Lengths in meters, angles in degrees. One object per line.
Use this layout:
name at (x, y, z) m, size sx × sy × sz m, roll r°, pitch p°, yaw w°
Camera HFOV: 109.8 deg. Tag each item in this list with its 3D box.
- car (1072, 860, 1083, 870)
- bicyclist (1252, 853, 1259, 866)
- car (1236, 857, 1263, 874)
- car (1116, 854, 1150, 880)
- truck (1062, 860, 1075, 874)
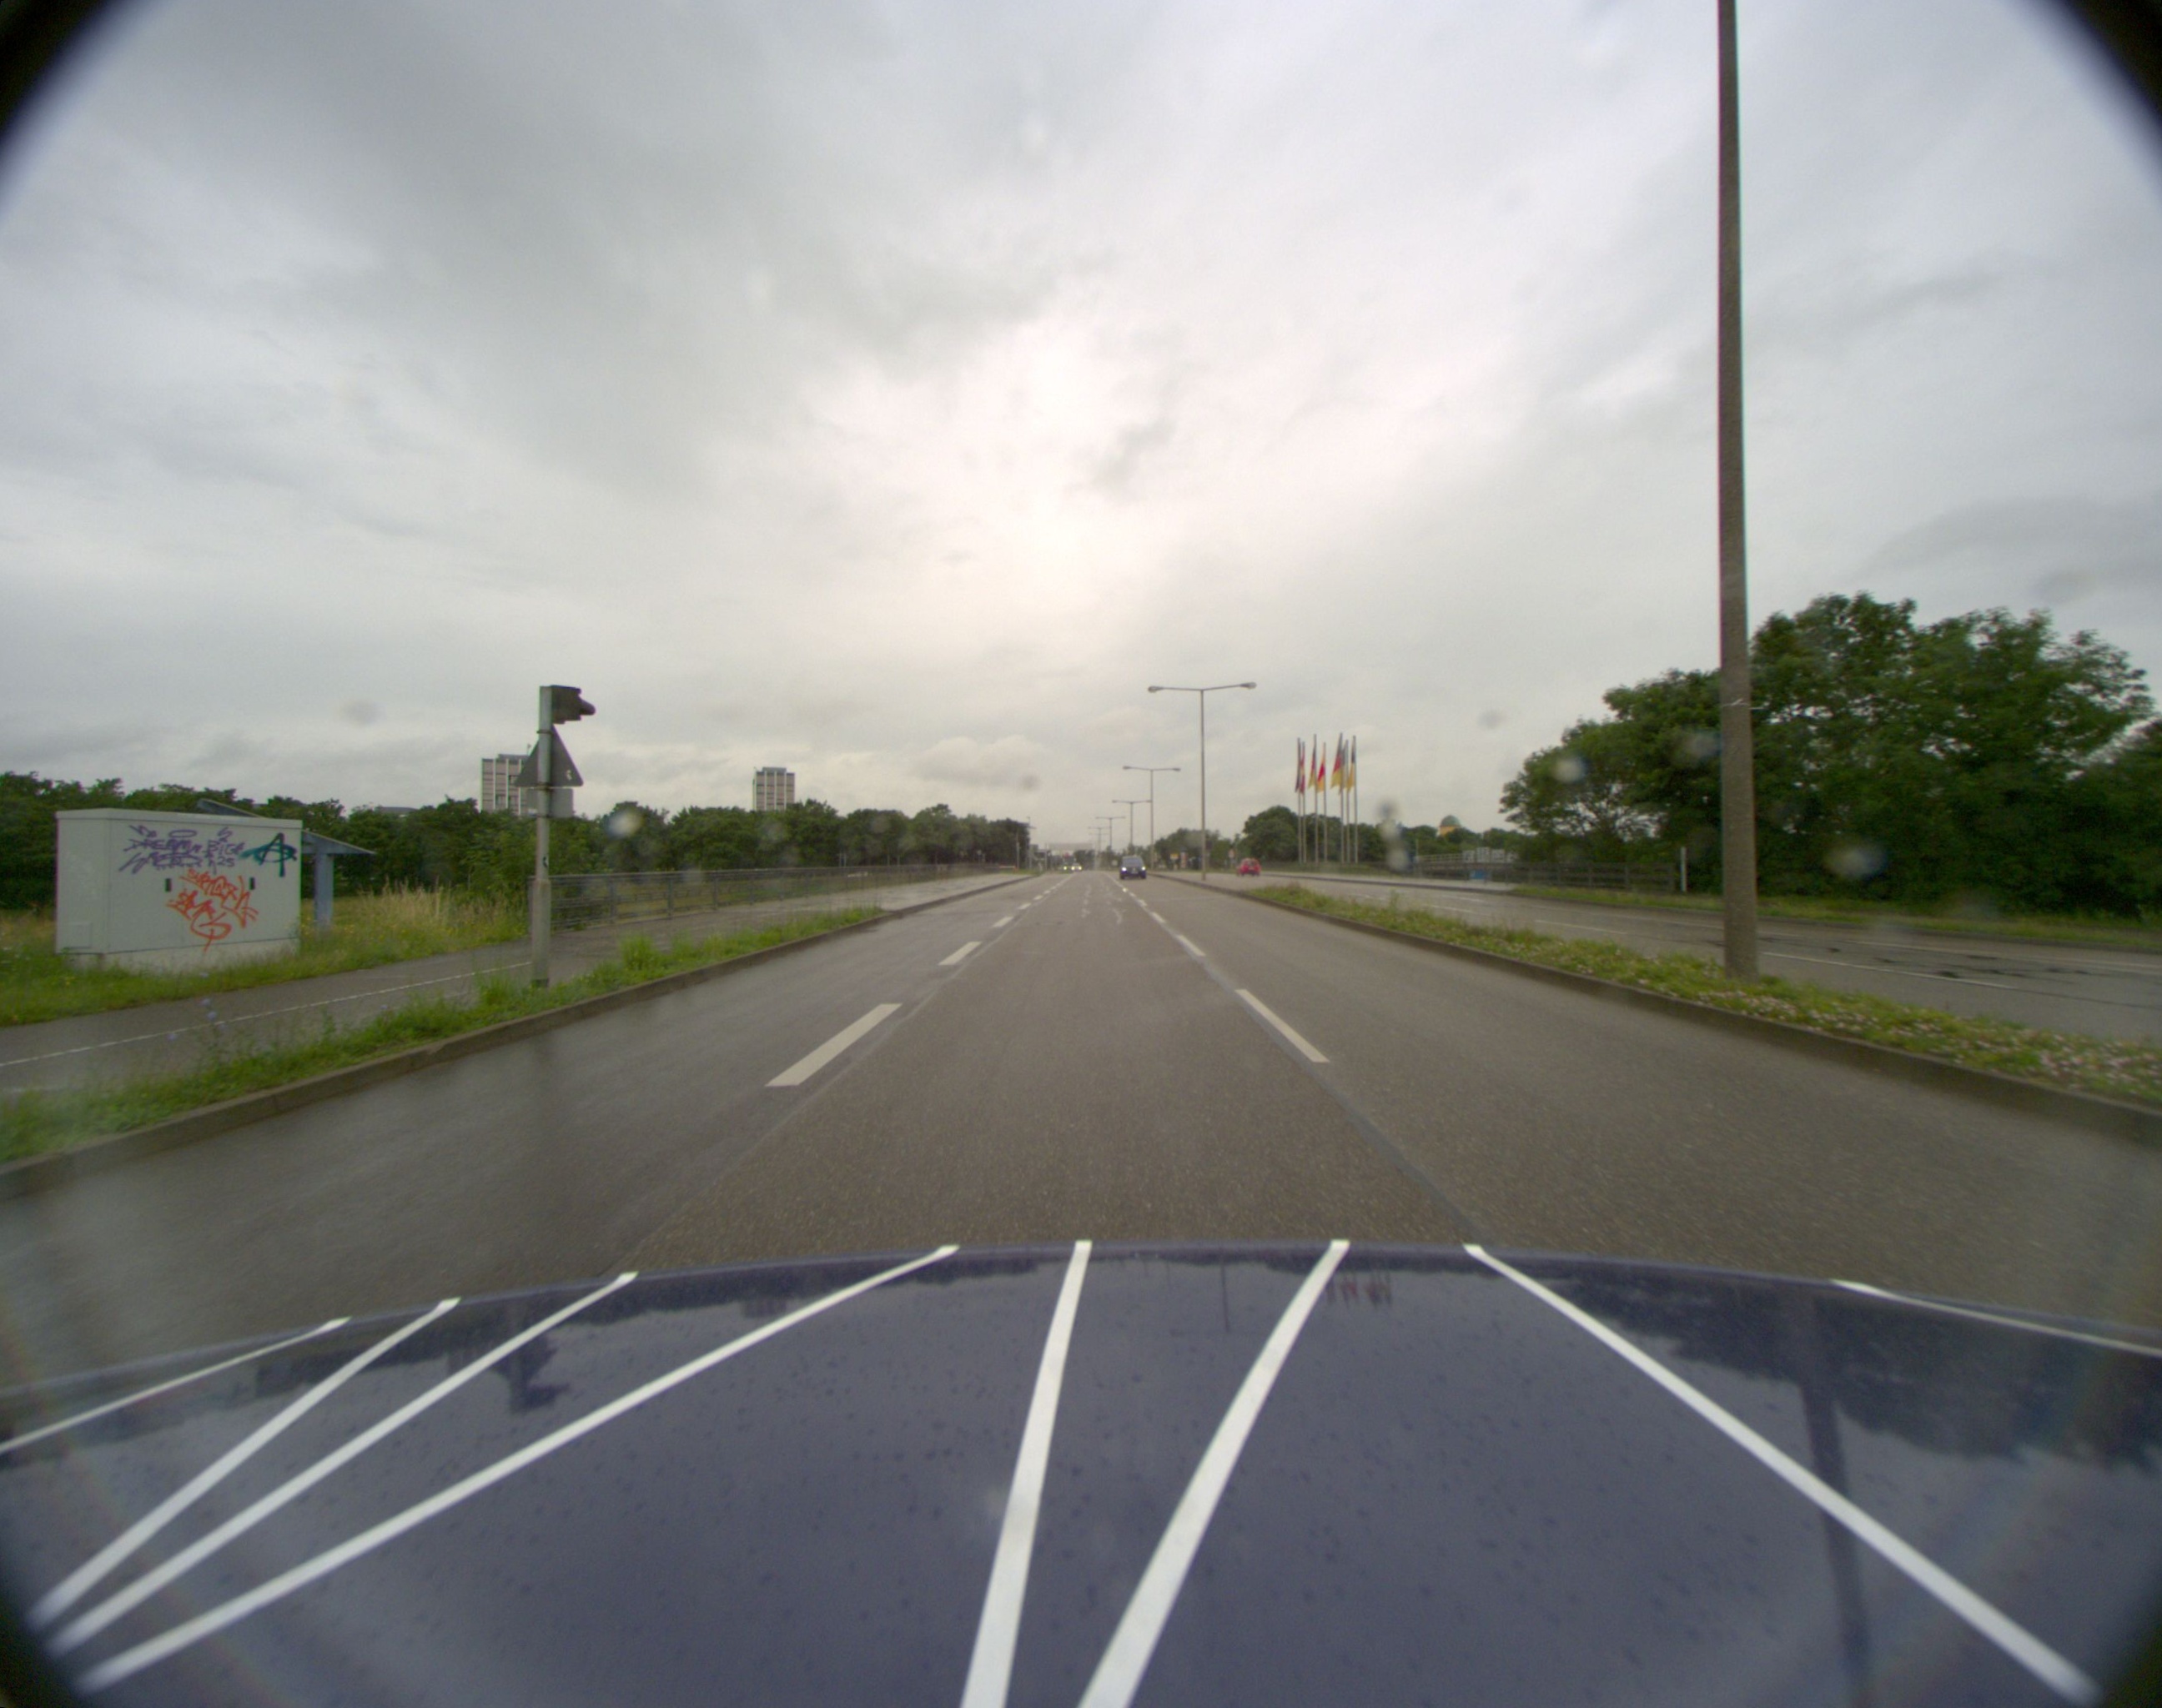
car at (-0.624, 2.101, 145.497) m, size 1.999 × 1.700 × 3.999 m, roll -1°, pitch 0°, yaw -1°
bicyclist at (20.955, 0.648, 91.139) m, size 0.621 × 1.491 × 1.003 m, roll -2°, pitch 0°, yaw 0°
car at (15.309, 1.042, 69.337) m, size 1.664 × 1.440 × 3.557 m, roll 1°, pitch 0°, yaw 0°
car at (3.852, 0.927, 57.049) m, size 1.851 × 1.740 × 4.815 m, roll -3°, pitch 1°, yaw -3°
truck at (-2.980, 3.137, 181.270) m, size 2.860 × 3.196 × 8.096 m, roll -1°, pitch 0°, yaw -1°
